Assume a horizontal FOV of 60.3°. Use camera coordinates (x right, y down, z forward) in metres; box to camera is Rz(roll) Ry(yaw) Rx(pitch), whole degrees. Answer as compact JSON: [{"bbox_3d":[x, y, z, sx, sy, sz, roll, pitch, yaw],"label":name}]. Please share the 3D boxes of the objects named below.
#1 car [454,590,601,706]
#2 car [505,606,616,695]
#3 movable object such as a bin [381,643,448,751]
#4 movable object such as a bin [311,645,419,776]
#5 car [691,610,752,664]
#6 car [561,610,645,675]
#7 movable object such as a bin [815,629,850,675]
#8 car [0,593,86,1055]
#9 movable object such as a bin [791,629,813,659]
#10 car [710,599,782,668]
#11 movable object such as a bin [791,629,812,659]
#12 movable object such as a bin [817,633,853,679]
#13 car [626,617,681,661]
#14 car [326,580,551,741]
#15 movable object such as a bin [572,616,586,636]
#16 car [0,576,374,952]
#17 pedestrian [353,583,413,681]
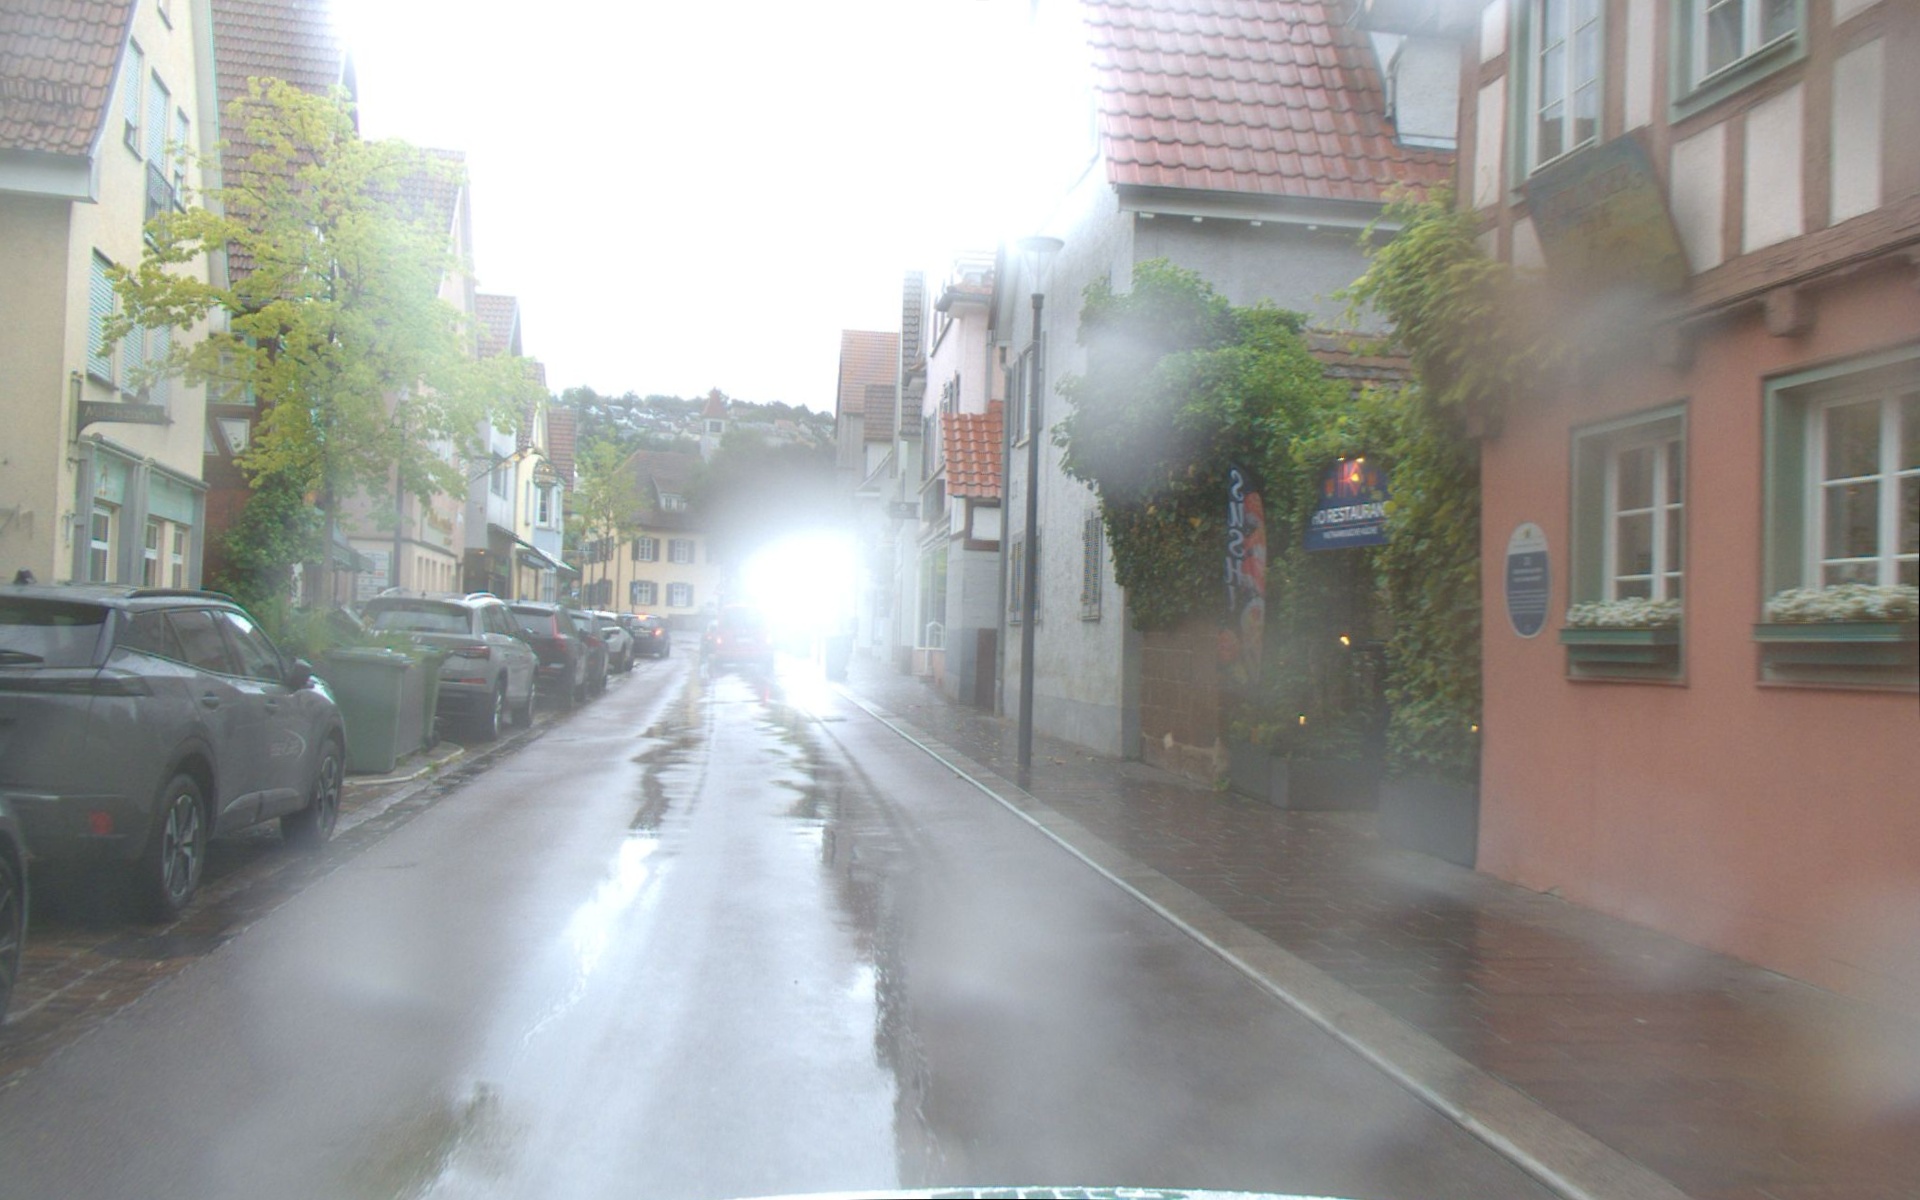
[{"bbox_3d":[-7.076,0.821,27.474,1.790,1.695,4.632,3,-3,-8],"label":"car"},{"bbox_3d":[-7.980,0.962,33.356,1.747,1.565,4.281,3,0,-9],"label":"car"},{"bbox_3d":[-5.582,0.990,16.953,0.542,1.064,0.533,3,-3,-12],"label":"movable object such as a bin"},{"bbox_3d":[-5.246,0.971,14.620,0.733,1.102,0.742,3,-3,-11],"label":"movable object such as a bin"},{"bbox_3d":[-8.714,1.370,60.205,1.957,1.831,3.989,3,-3,-10],"label":"car"},{"bbox_3d":[-9.459,1.098,44.075,1.659,1.565,4.115,3,0,-6],"label":"car"},{"bbox_3d":[-3.154,1.288,40.811,0.782,1.099,0.581,1,-2,-11],"label":"movable object such as a bin"},{"bbox_3d":[-3.590,0.675,3.494,1.829,1.467,4.605,2,-1,-12],"label":"car"},{"bbox_3d":[-5.891,1.648,61.687,0.753,1.098,0.598,2,-3,-7],"label":"movable object such as a bin"},{"bbox_3d":[-6.262,0.961,48.852,1.857,1.843,3.995,3,0,-5],"label":"car"},{"bbox_3d":[-5.972,1.664,62.343,0.740,1.082,0.599,2,-3,-7],"label":"movable object such as a bin"},{"bbox_3d":[-3.033,1.368,40.145,0.778,1.099,0.613,1,-2,-11],"label":"movable object such as a bin"},{"bbox_3d":[-11.140,1.392,60.337,1.660,1.469,3.878,3,0,-7],"label":"car"},{"bbox_3d":[-6.266,0.757,20.412,1.790,1.696,4.634,3,-3,-7],"label":"car"},{"bbox_3d":[-21.872,1.499,94.940,0.703,1.125,0.597,3,-3,-18],"label":"movable object such as a bin"},{"bbox_3d":[-4.666,0.680,9.020,1.827,1.551,4.320,3,-1,-8],"label":"car"},{"bbox_3d":[-10.527,0.596,30.224,0.774,1.711,1.173,3,-3,-11],"label":"pedestrian"}]
